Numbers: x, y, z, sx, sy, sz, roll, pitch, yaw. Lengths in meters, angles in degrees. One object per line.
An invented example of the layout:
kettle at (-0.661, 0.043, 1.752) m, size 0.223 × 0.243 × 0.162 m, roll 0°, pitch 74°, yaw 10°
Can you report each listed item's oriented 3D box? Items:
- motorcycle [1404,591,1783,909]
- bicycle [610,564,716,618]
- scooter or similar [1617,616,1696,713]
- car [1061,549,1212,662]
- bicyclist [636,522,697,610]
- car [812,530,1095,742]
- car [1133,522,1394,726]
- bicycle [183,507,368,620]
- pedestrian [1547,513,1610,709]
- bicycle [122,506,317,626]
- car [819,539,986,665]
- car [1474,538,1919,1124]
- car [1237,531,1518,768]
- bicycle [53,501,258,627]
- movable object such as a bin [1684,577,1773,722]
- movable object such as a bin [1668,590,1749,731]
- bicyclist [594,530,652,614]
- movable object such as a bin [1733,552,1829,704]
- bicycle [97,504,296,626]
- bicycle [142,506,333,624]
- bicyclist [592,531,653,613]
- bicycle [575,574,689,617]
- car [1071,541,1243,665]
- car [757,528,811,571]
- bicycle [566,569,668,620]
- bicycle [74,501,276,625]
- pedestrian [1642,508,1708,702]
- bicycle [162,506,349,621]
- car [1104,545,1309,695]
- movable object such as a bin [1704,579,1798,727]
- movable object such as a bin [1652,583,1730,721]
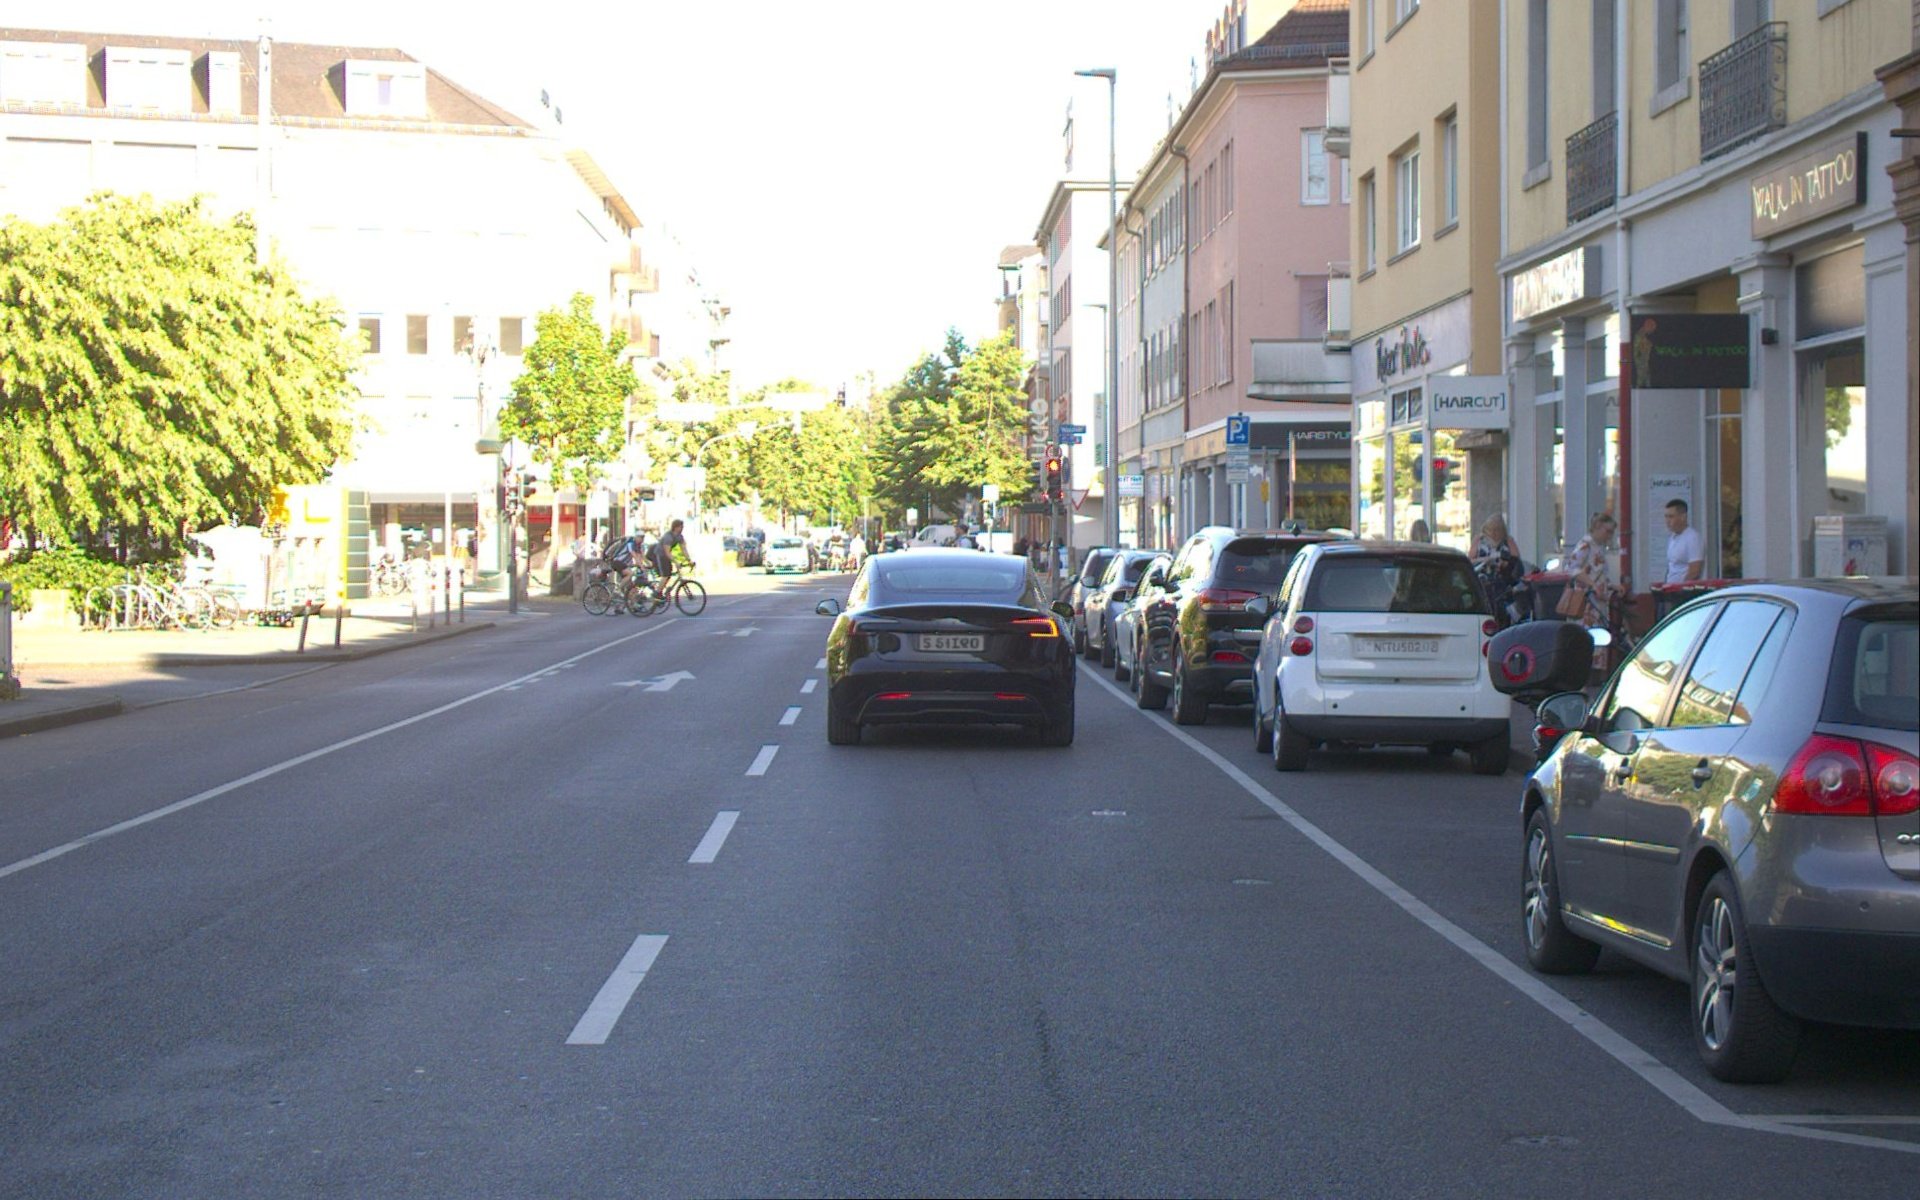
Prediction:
motorcycle at (2.874, 0.630, 15.449) m, size 0.656 × 1.323 × 2.039 m, roll 1°, pitch 1°, yaw 44°
bicycle at (-5.695, -0.178, 66.070) m, size 2.011 × 1.018 × 0.888 m, roll 0°, pitch 1°, yaw -4°
scooter or similar at (5.790, 0.535, 28.572) m, size 0.579 × 0.777 × 0.466 m, roll -2°, pitch 0°, yaw 15°
car at (2.386, 0.081, 47.316) m, size 1.792 × 1.455 × 3.868 m, roll 1°, pitch 0°, yaw -1°
bicyclist at (-5.634, -0.647, 66.072) m, size 1.146 × 1.680 × 0.919 m, roll 0°, pitch 1°, yaw -4°
car at (-0.122, 0.268, 26.841) m, size 1.995 × 1.475 × 4.495 m, roll 1°, pitch 0°, yaw -2°
car at (2.580, 0.203, 30.073) m, size 1.716 × 1.630 × 4.084 m, roll 1°, pitch 0°, yaw -3°
bicycle at (-12.295, -0.659, 61.770) m, size 3.122 × 2.007 × 0.908 m, roll 0°, pitch 1°, yaw 9°
pedestrian at (5.196, 0.086, 28.862) m, size 0.471 × 1.630 × 0.513 m, roll 0°, pitch 1°, yaw 15°
bicycle at (-12.622, -0.582, 58.605) m, size 3.122 × 2.007 × 0.908 m, roll 0°, pitch 1°, yaw 9°
car at (-0.669, -0.006, 42.770) m, size 1.935 × 1.482 × 4.271 m, roll 0°, pitch 1°, yaw 1°
car at (2.990, 0.592, 11.259) m, size 1.839 × 1.541 × 4.229 m, roll 1°, pitch 1°, yaw -2°
car at (2.888, 0.301, 24.244) m, size 1.613 × 1.541 × 2.855 m, roll 1°, pitch 1°, yaw 0°
bicycle at (-13.004, -0.591, 55.608) m, size 3.122 × 2.007 × 0.908 m, roll 0°, pitch 1°, yaw 9°
movable object such as a bin at (5.749, 0.364, 25.724) m, size 0.478 × 1.048 × 0.632 m, roll -2°, pitch 1°, yaw -2°
movable object such as a bin at (5.723, 0.458, 26.308) m, size 0.478 × 1.048 × 0.468 m, roll -2°, pitch 1°, yaw -2°
bicyclist at (-6.735, -0.564, 68.759) m, size 1.146 × 1.680 × 0.819 m, roll 0°, pitch 1°, yaw -4°
movable object such as a bin at (5.808, 0.191, 24.343) m, size 0.478 × 1.048 × 0.632 m, roll -2°, pitch 1°, yaw -2°
bicycle at (-12.776, -0.597, 57.558) m, size 3.122 × 2.007 × 0.908 m, roll 0°, pitch 1°, yaw 9°
bicycle at (-12.537, -0.614, 59.688) m, size 3.122 × 2.007 × 0.908 m, roll 0°, pitch 1°, yaw 9°
bicyclist at (-6.995, -0.585, 71.317) m, size 1.146 × 1.680 × 0.915 m, roll 0°, pitch 1°, yaw 3°
bicycle at (-6.801, -0.100, 71.300) m, size 2.244 × 0.880 × 0.923 m, roll 0°, pitch 1°, yaw 3°
car at (2.424, 0.040, 43.166) m, size 1.792 × 1.455 × 3.868 m, roll 1°, pitch 0°, yaw -2°
car at (-7.411, -2.140, 145.030) m, size 1.993 × 1.766 × 4.000 m, roll 1°, pitch 1°, yaw 0°
bicycle at (-6.845, -0.112, 68.757) m, size 2.011 × 1.018 × 0.762 m, roll 0°, pitch 1°, yaw -4°
bicycle at (-12.902, -0.613, 56.565) m, size 3.122 × 2.007 × 0.908 m, roll 0°, pitch 1°, yaw 9°
pedestrian at (6.074, 0.041, 29.211) m, size 0.470 × 1.630 × 0.513 m, roll 0°, pitch 1°, yaw 4°
bicycle at (-12.438, -0.645, 60.727) m, size 3.122 × 2.007 × 0.908 m, roll 0°, pitch 1°, yaw 9°
car at (2.544, 0.208, 36.262) m, size 1.792 × 1.455 × 4.084 m, roll 1°, pitch 0°, yaw -1°
movable object such as a bin at (5.767, 0.381, 25.072) m, size 0.495 × 1.048 × 0.632 m, roll -2°, pitch 1°, yaw -2°
movable object such as a bin at (5.699, 0.397, 26.814) m, size 0.455 × 1.048 × 0.500 m, roll -2°, pitch 1°, yaw -2°
